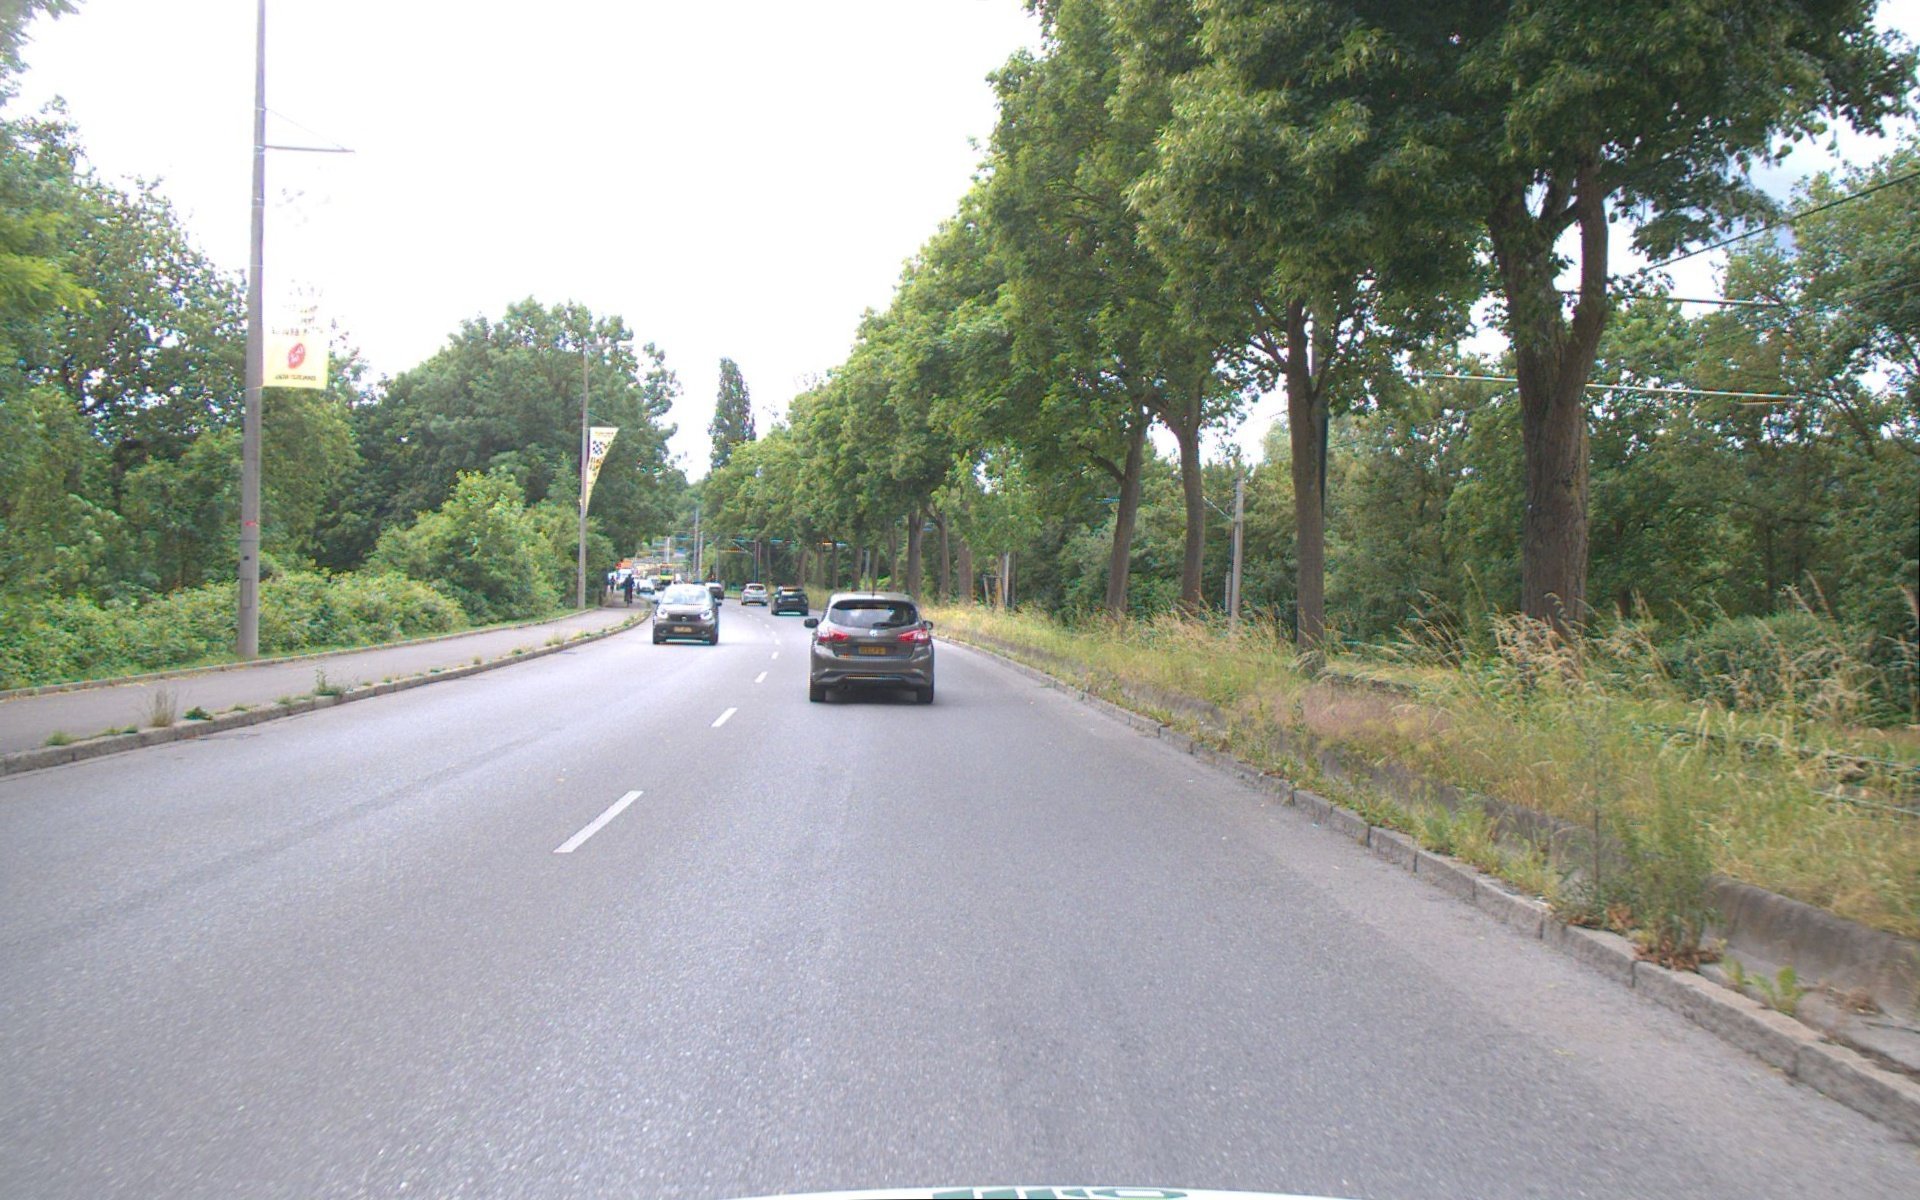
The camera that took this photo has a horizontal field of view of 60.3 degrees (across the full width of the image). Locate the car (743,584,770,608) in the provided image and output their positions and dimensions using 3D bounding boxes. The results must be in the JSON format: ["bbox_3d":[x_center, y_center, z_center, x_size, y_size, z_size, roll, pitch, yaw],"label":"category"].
[{"bbox_3d":[-14.073,-0.291,114.623,1.742,1.497,3.995,4,1,-7],"label":"car"}]

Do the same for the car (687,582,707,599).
[{"bbox_3d":[-25.087,-0.892,157.785,1.743,1.497,3.993,3,1,-9],"label":"car"}]

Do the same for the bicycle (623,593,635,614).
[{"bbox_3d":[-17.767,0.202,88.813,0.479,1.048,1.122,4,1,-8],"label":"bicycle"}]

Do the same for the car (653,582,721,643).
[{"bbox_3d":[-7.218,0.324,43.938,1.565,1.532,3.024,1,0,-6],"label":"car"}]

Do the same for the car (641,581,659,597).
[{"bbox_3d":[-32.446,-1.136,172.995,1.717,1.489,3.911,3,0,-10],"label":"car"}]

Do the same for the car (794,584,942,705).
[{"bbox_3d":[-1.426,0.584,24.207,1.782,1.534,3.993,1,1,-9],"label":"car"}]

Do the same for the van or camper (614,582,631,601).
[{"bbox_3d":[-43.130,-1.117,211.031,1.893,2.188,3.919,4,1,-13],"label":"van or camper"}]

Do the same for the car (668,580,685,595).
[{"bbox_3d":[-30.650,-1.370,178.769,1.744,1.497,3.991,4,1,-10],"label":"car"}]

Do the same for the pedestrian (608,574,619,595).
[{"bbox_3d":[-27.545,-1.249,131.564,0.683,1.650,0.683,4,0,-9],"label":"pedestrian"}]

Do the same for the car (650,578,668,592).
[{"bbox_3d":[-37.498,-1.856,205.993,1.747,1.497,3.984,4,1,-16],"label":"car"}]

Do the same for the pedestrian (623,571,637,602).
[{"bbox_3d":[-17.715,-0.728,88.792,0.606,1.598,0.848,4,1,-8],"label":"pedestrian"}]

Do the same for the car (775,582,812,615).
[{"bbox_3d":[-8.506,-0.113,84.759,1.742,1.497,3.996,4,1,-5],"label":"car"}]

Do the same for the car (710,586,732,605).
[{"bbox_3d":[-20.840,-0.395,144.249,1.744,1.497,3.991,1,1,-10],"label":"car"}]
